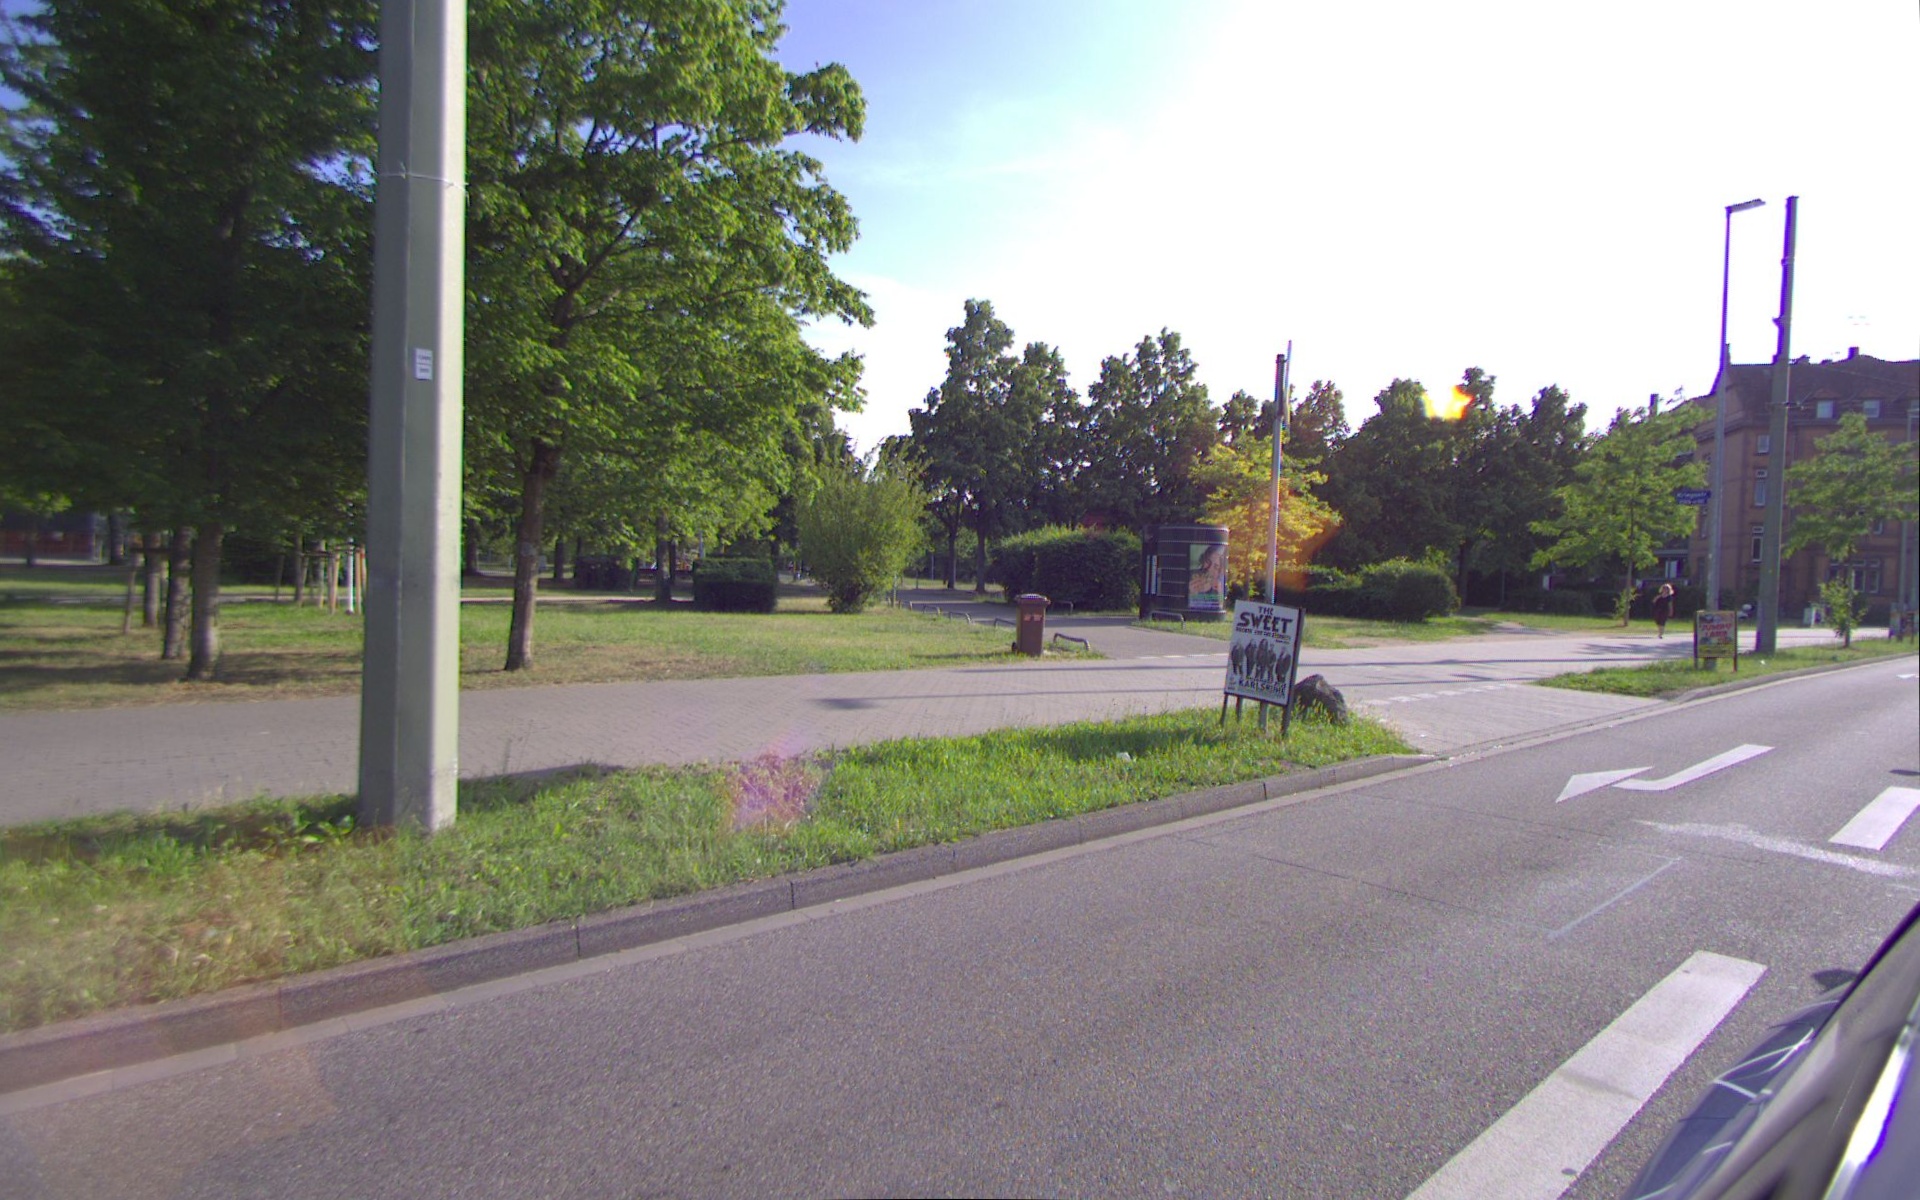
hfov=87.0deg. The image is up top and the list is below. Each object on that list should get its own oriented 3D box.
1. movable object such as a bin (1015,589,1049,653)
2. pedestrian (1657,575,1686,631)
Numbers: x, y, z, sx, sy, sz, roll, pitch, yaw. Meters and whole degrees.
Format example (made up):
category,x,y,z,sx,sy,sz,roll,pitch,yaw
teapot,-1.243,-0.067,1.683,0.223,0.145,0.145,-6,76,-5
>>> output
category,x,y,z,sx,sy,sz,roll,pitch,yaw
movable object such as a bin,1.094,0.307,15.435,0.447,0.929,0.605,2,2,1
pedestrian,22.194,0.091,31.568,0.607,1.706,0.621,1,0,-40
